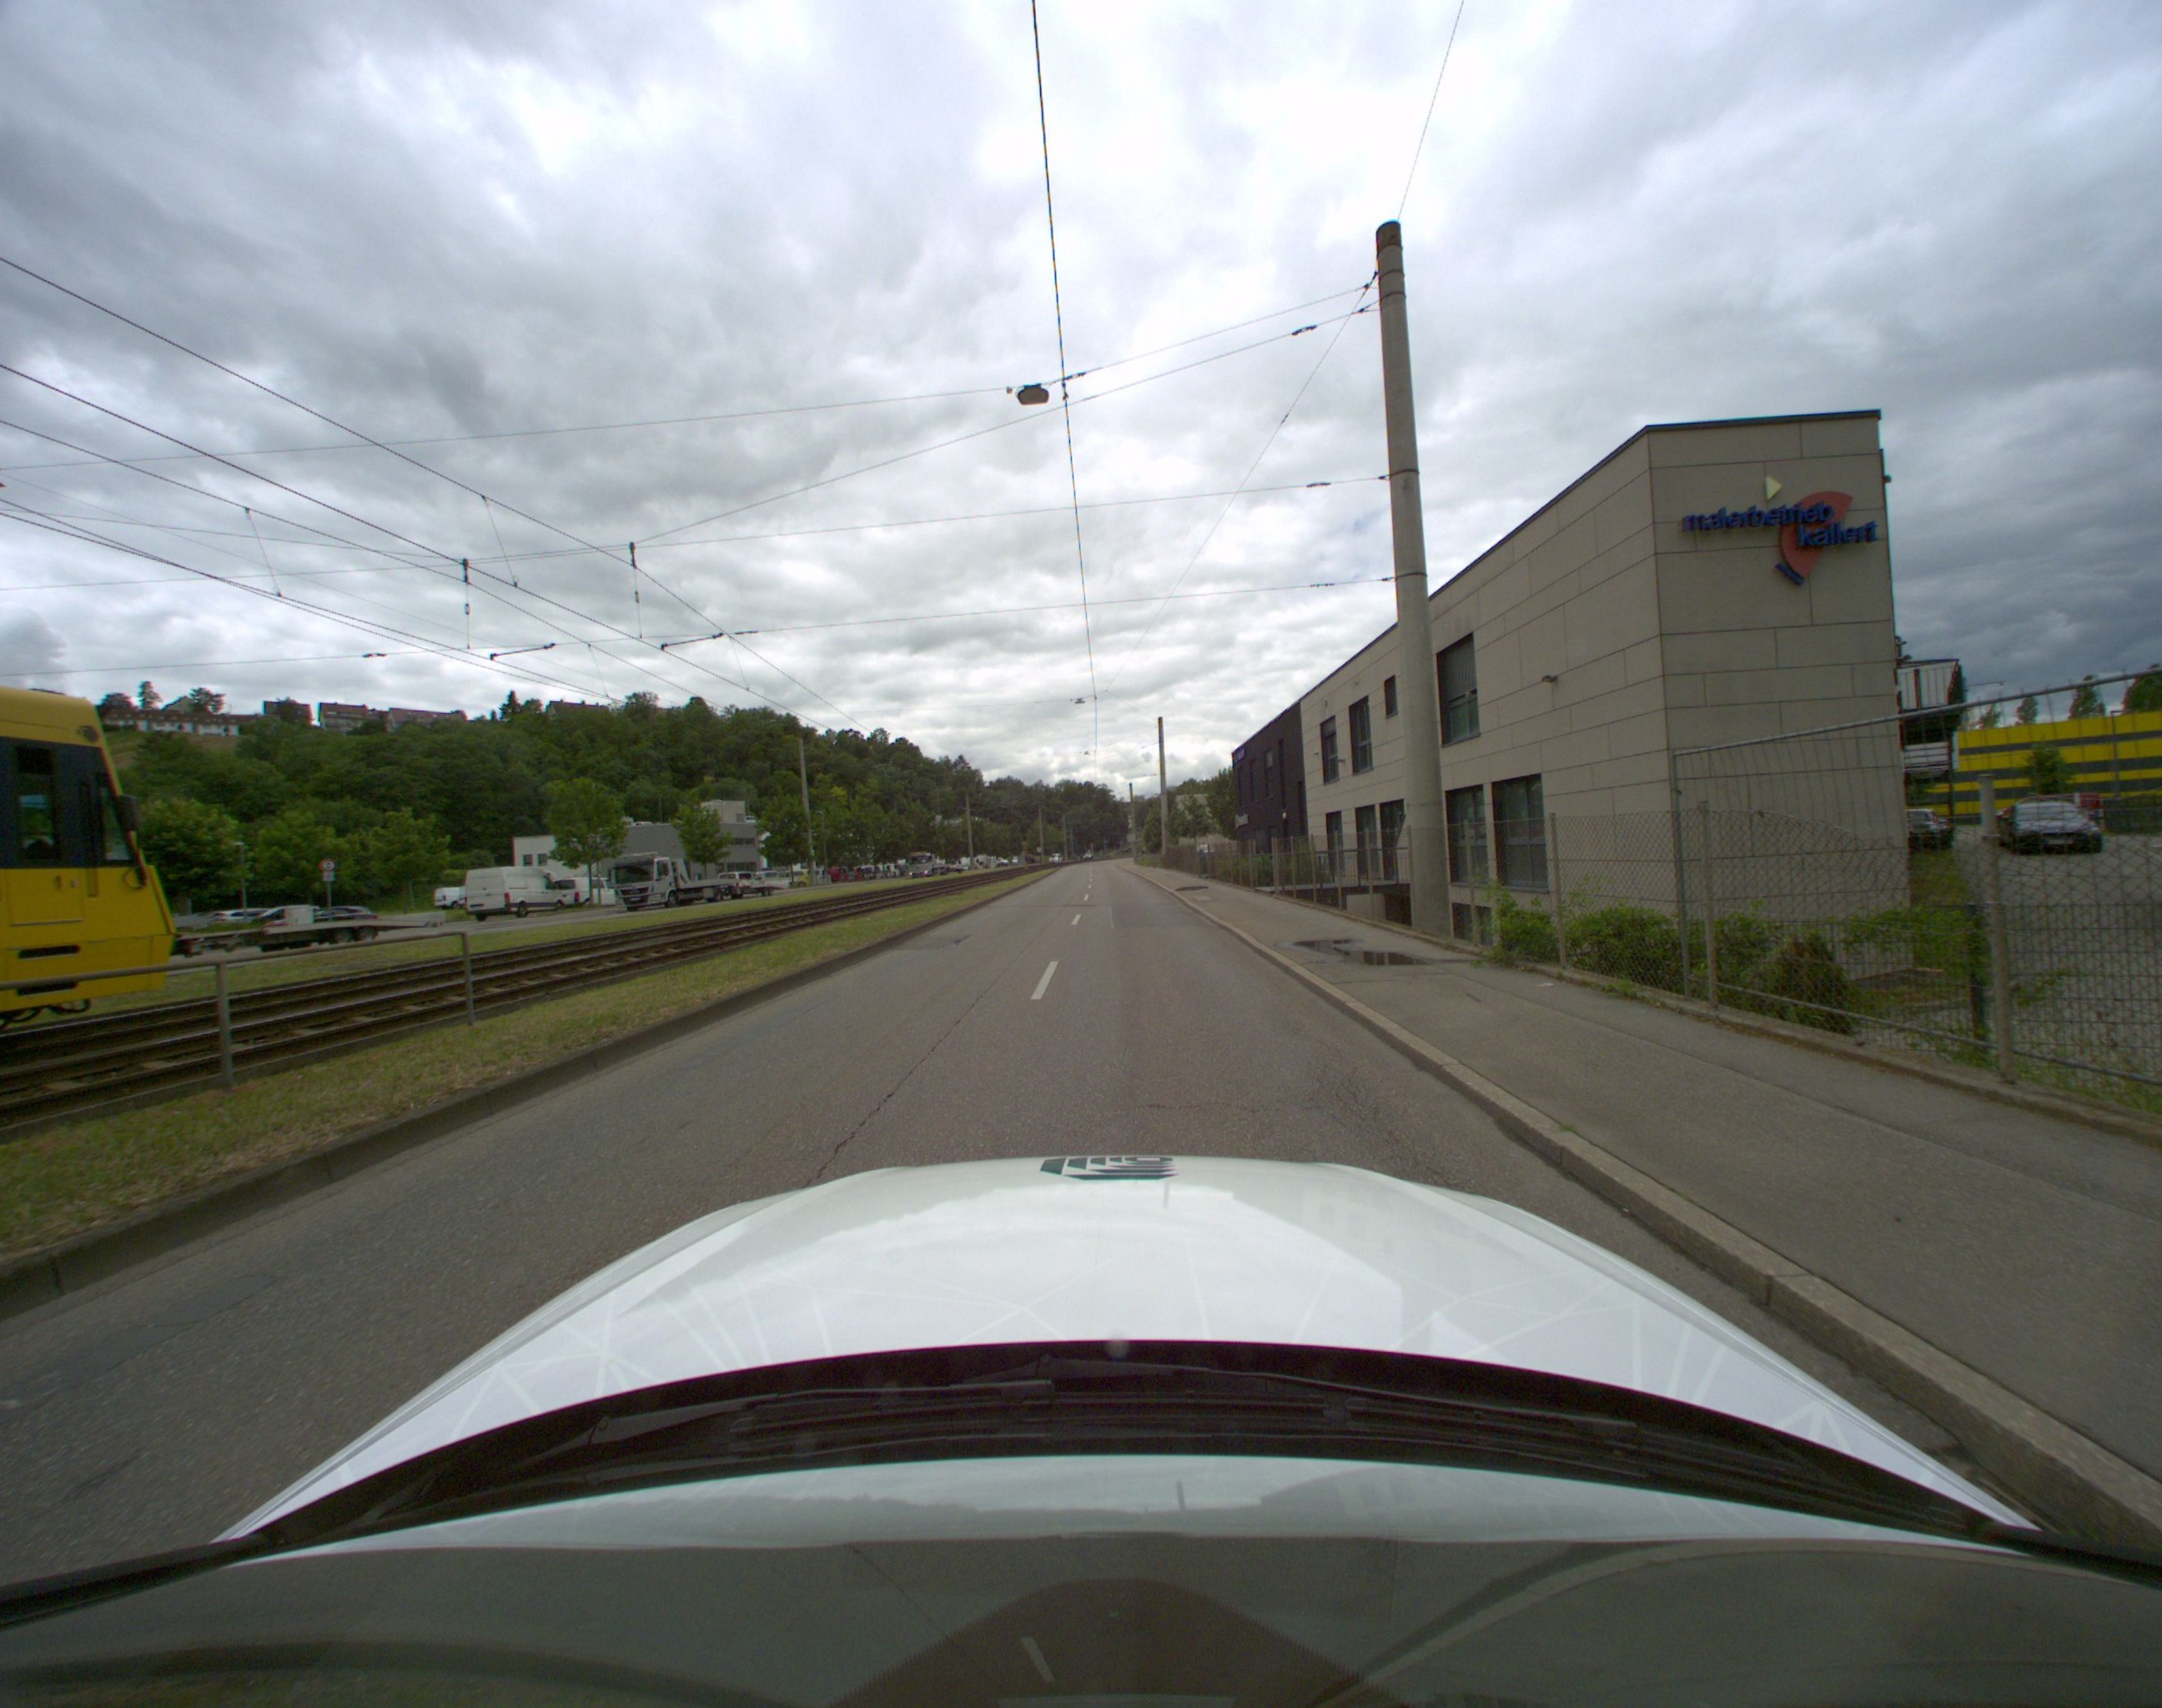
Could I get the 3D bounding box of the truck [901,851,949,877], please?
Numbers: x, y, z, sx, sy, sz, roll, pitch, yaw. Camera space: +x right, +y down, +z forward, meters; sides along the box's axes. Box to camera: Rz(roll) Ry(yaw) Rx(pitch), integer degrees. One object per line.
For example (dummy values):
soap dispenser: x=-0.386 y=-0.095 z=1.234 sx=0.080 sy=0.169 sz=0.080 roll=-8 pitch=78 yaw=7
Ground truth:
truck: x=-17.105 y=1.025 z=89.852 sx=2.866 sy=2.589 sz=6.929 roll=-3 pitch=0 yaw=9

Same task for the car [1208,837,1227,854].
car: x=15.323 y=-0.982 z=91.323 sx=1.816 sy=1.706 sz=3.817 roll=-4 pitch=0 yaw=11

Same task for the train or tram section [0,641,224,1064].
train or tram section: x=-10.795 y=0.014 z=4.476 sx=1.985 sy=3.795 sz=9.184 roll=-3 pitch=0 yaw=3

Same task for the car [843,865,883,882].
car: x=-25.377 y=2.233 z=94.724 sx=3.965 sy=1.705 sz=1.838 roll=-4 pitch=1 yaw=7

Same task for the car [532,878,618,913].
car: x=-29.492 y=2.438 z=47.628 sx=2.146 sy=1.877 sz=4.259 roll=-3 pitch=-4 yaw=4

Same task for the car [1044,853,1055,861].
car: x=-6.720 y=0.604 z=173.178 sx=1.986 sy=1.640 sz=4.002 roll=-3 pitch=0 yaw=2

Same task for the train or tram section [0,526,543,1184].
train or tram section: x=-8.162 y=0.062 z=4.589 sx=2.960 sy=4.065 sz=10.202 roll=-3 pitch=1 yaw=2

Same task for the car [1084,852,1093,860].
car: x=1.676 y=0.445 z=188.229 sx=1.986 sy=1.640 sz=4.002 roll=-3 pitch=0 yaw=2

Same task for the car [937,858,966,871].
car: x=-19.708 y=1.662 z=123.909 sx=3.965 sy=1.706 sz=1.837 roll=-4 pitch=-4 yaw=7

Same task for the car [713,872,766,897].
car: x=-27.778 y=2.518 z=66.391 sx=1.985 sy=1.898 sz=4.614 roll=-3 pitch=-4 yaw=4

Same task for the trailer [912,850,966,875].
trailer: x=-16.333 y=0.940 z=94.582 sx=2.875 sy=2.583 sz=10.021 roll=-3 pitch=0 yaw=9

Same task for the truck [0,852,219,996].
truck: x=-22.390 y=1.476 z=15.869 sx=2.276 sy=2.739 sz=8.027 roll=-3 pitch=1 yaw=2

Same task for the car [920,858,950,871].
car: x=-21.547 y=1.575 z=120.328 sx=3.965 sy=1.706 sz=1.837 roll=-4 pitch=-4 yaw=7

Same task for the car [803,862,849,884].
car: x=-26.619 y=1.990 z=85.034 sx=3.969 sy=2.014 sz=2.002 roll=-3 pitch=-4 yaw=4

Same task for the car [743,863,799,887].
car: x=-27.903 y=1.921 z=73.193 sx=4.554 sy=1.898 sz=2.011 roll=-5 pitch=-4 yaw=24

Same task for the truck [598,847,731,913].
truck: x=-21.333 y=1.210 z=42.286 sx=2.871 sy=2.990 sz=6.917 roll=-3 pitch=0 yaw=3

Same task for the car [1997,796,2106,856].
car: x=30.044 y=-0.793 z=25.338 sx=4.022 sy=1.574 sz=1.856 roll=0 pitch=-5 yaw=-43

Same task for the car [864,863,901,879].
car: x=-24.367 y=2.108 z=99.952 sx=3.965 sy=1.705 sz=1.838 roll=-4 pitch=0 yaw=7

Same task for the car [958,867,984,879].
car: x=-18.615 y=3.196 z=137.930 sx=3.965 sy=1.706 sz=1.837 roll=-4 pitch=-4 yaw=7

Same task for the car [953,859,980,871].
car: x=-18.863 y=1.830 z=134.400 sx=3.965 sy=1.706 sz=1.837 roll=-4 pitch=-4 yaw=7

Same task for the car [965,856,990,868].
car: x=-17.991 y=1.454 z=141.838 sx=3.965 sy=1.706 sz=1.837 roll=-4 pitch=-4 yaw=7

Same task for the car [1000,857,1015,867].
car: x=-14.847 y=1.644 z=164.699 sx=1.815 sy=1.706 sz=4.156 roll=-4 pitch=-4 yaw=12

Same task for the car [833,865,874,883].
car: x=-25.877 y=2.286 z=92.535 sx=3.964 sy=1.706 sz=1.838 roll=-3 pitch=-1 yaw=8

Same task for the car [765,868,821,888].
car: x=-27.862 y=2.322 z=78.888 sx=4.575 sy=1.575 sz=2.001 roll=-3 pitch=-4 yaw=3

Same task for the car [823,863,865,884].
car: x=-26.201 y=2.167 z=90.179 sx=3.969 sy=2.014 sz=2.002 roll=-3 pitch=-4 yaw=4

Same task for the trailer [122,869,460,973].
trailer: x=-22.118 y=1.714 z=23.584 sx=2.283 sy=2.128 sz=7.322 roll=-6 pitch=0 yaw=2

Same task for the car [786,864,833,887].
car: x=-27.297 y=2.196 z=81.910 sx=3.969 sy=2.014 sz=2.002 roll=-3 pitch=-4 yaw=4

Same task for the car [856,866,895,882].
car: x=-24.602 y=2.375 z=97.438 sx=3.965 sy=1.706 sz=1.838 roll=-4 pitch=0 yaw=7

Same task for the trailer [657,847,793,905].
trailer: x=-21.020 y=1.146 z=49.152 sx=2.880 sy=2.982 sz=10.799 roll=-3 pitch=0 yaw=3

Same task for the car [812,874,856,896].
car: x=-26.536 y=3.349 z=87.615 sx=3.969 sy=2.014 sz=2.002 roll=-3 pitch=-4 yaw=4

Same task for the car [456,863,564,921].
car: x=-28.847 y=1.827 z=41.400 sx=2.000 sy=2.646 sz=5.426 roll=-3 pitch=0 yaw=-7
